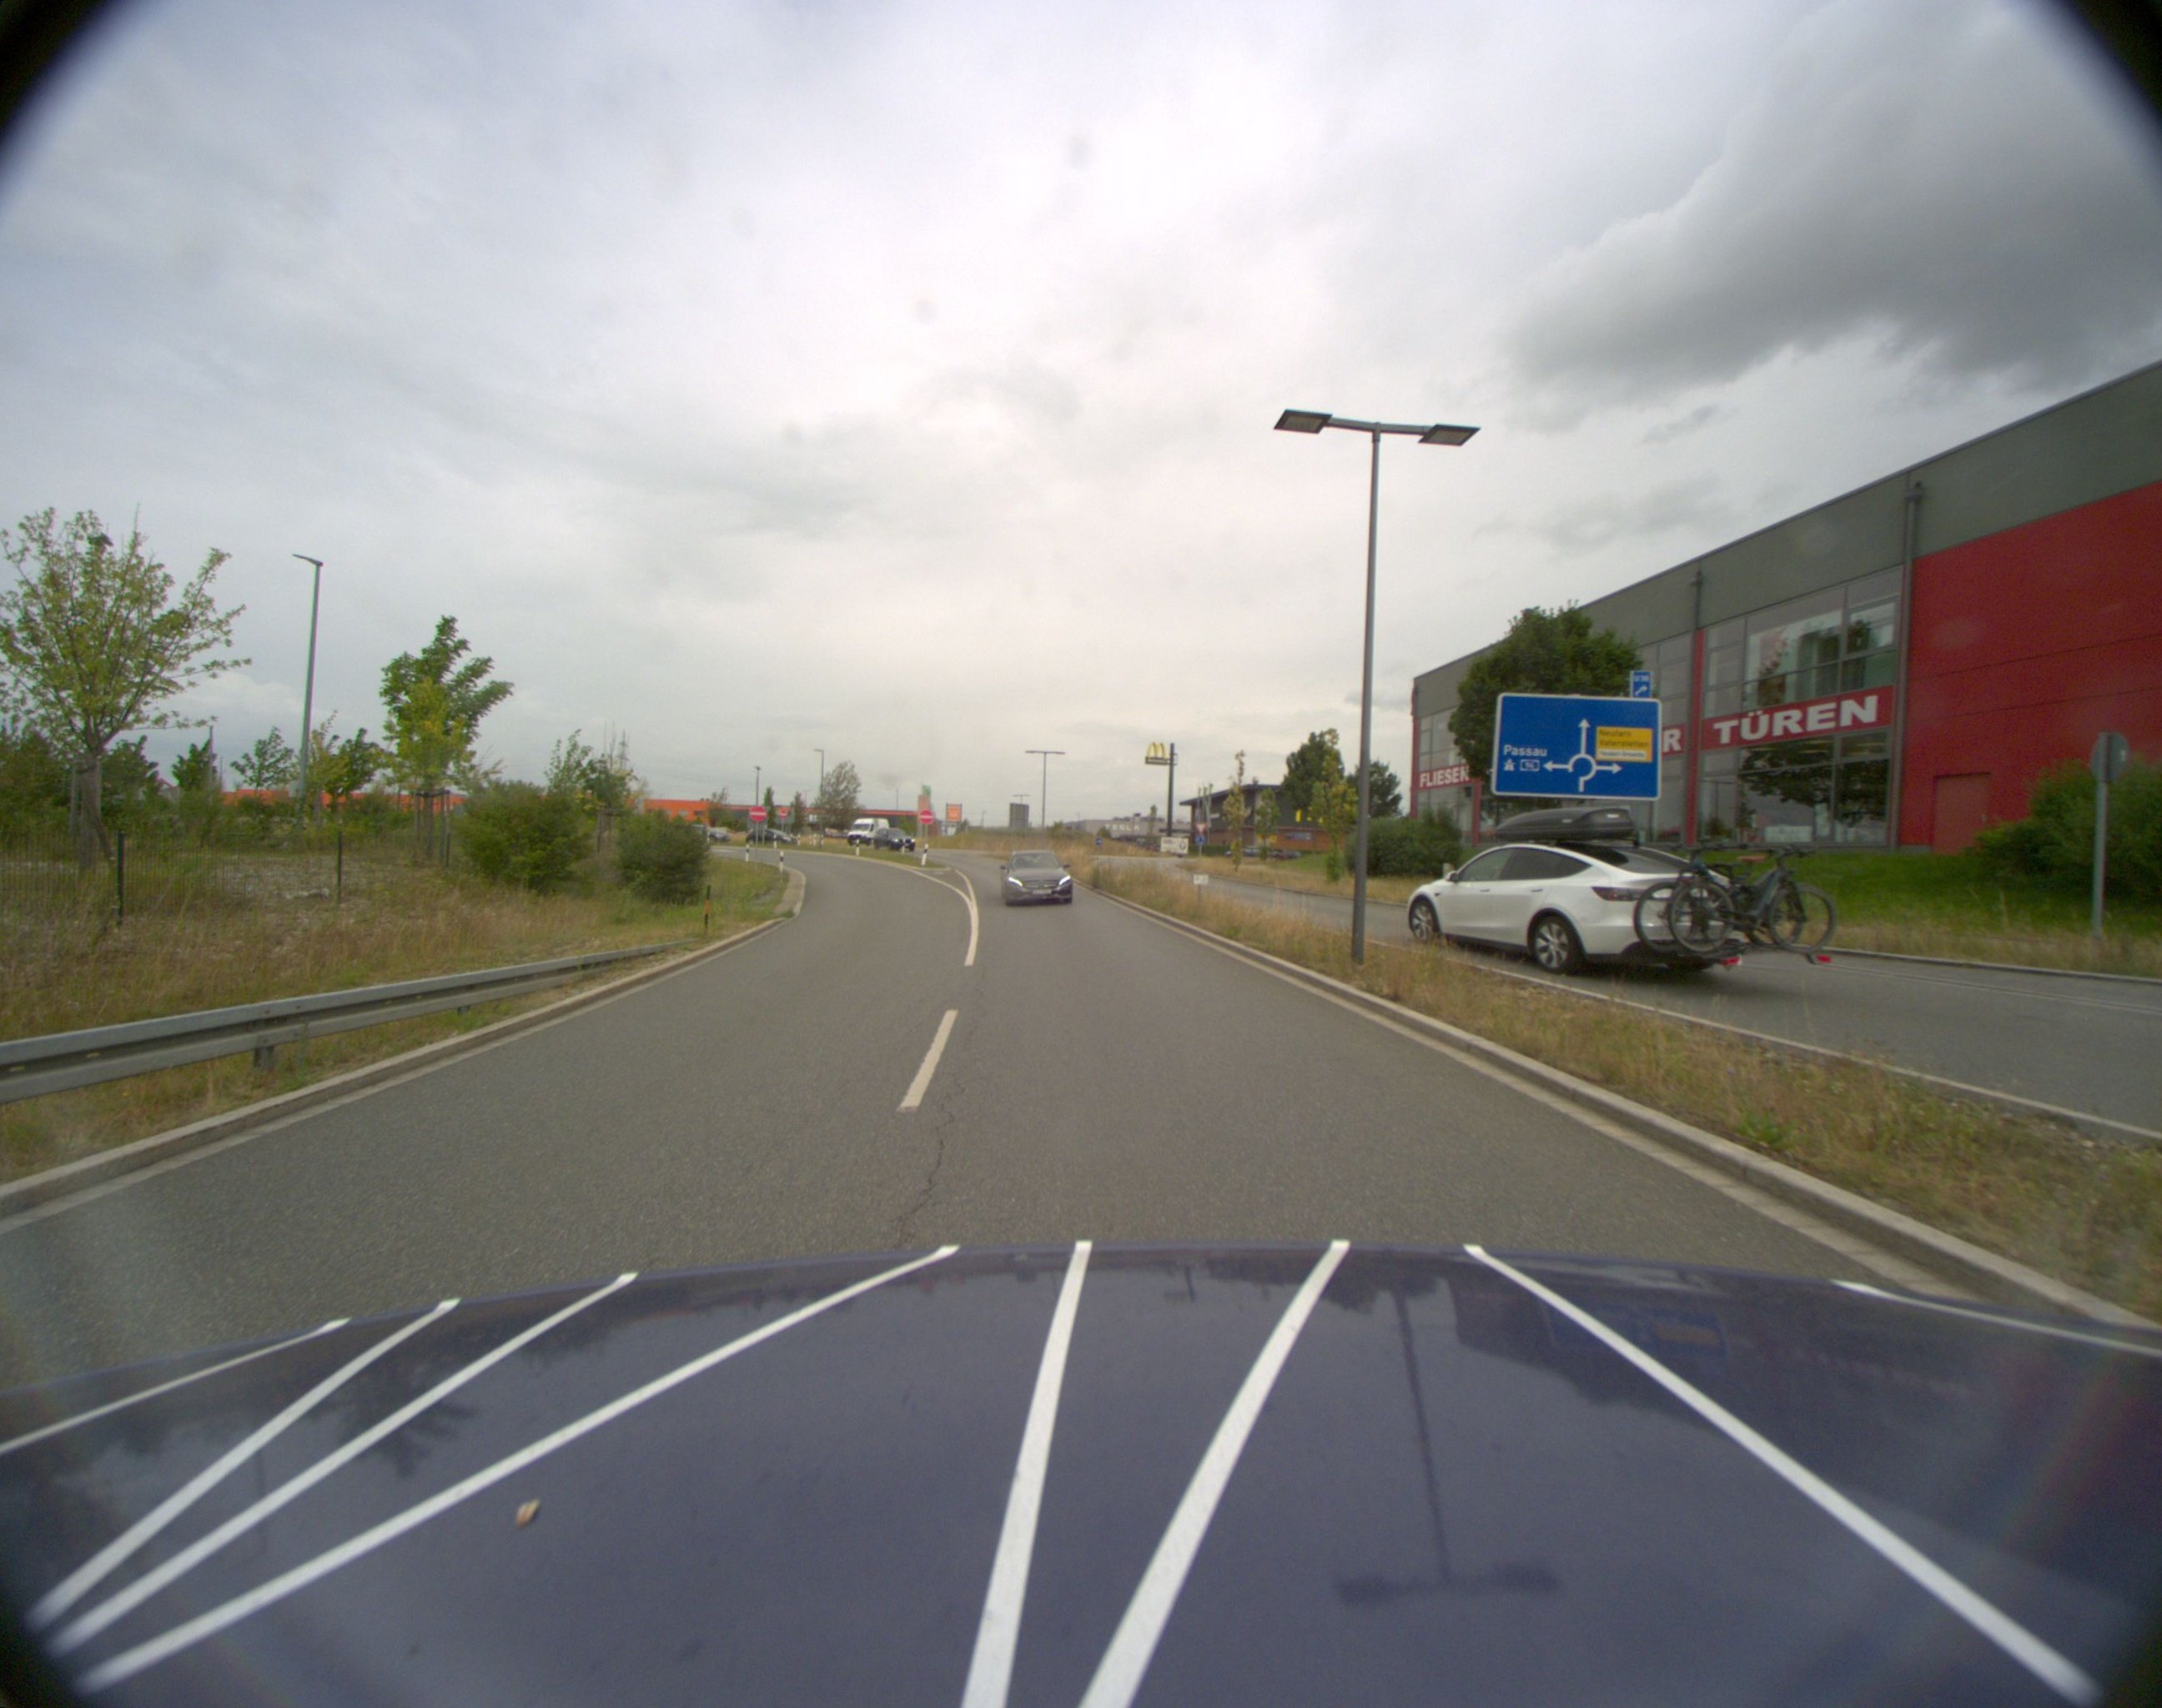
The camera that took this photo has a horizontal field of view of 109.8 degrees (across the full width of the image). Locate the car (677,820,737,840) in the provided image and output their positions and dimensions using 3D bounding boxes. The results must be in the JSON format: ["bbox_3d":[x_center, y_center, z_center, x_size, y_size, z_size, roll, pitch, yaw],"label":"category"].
[{"bbox_3d":[-31.774,-2.063,64.619,4.271,1.574,1.884,1,2,5],"label":"car"}]

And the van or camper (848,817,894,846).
[{"bbox_3d":[-19.997,-2.158,72.691,2.332,2.635,6.045,0,1,5],"label":"van or camper"}]

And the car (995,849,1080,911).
[{"bbox_3d":[-1.373,0.656,21.966,1.908,1.489,4.334,-2,1,-10],"label":"car"}]

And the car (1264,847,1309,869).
[{"bbox_3d":[18.705,0.372,69.155,3.776,1.452,1.639,5,6,-33],"label":"car"}]

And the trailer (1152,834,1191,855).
[{"bbox_3d":[9.517,-1.010,80.037,1.816,2.079,4.134,2,2,-31],"label":"trailer"}]

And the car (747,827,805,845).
[{"bbox_3d":[-24.895,-1.492,62.070,4.137,1.363,1.845,1,2,13],"label":"car"}]

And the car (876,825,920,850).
[{"bbox_3d":[-13.700,-1.221,56.625,1.847,1.709,3.990,-2,1,-34],"label":"car"}]

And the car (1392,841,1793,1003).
[{"bbox_3d":[6.340,0.704,10.267,1.915,1.617,4.634,-2,0,-7],"label":"car"}]

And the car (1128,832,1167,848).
[{"bbox_3d":[7.264,-1.591,83.541,1.820,1.660,4.603,1,1,-31],"label":"car"}]
